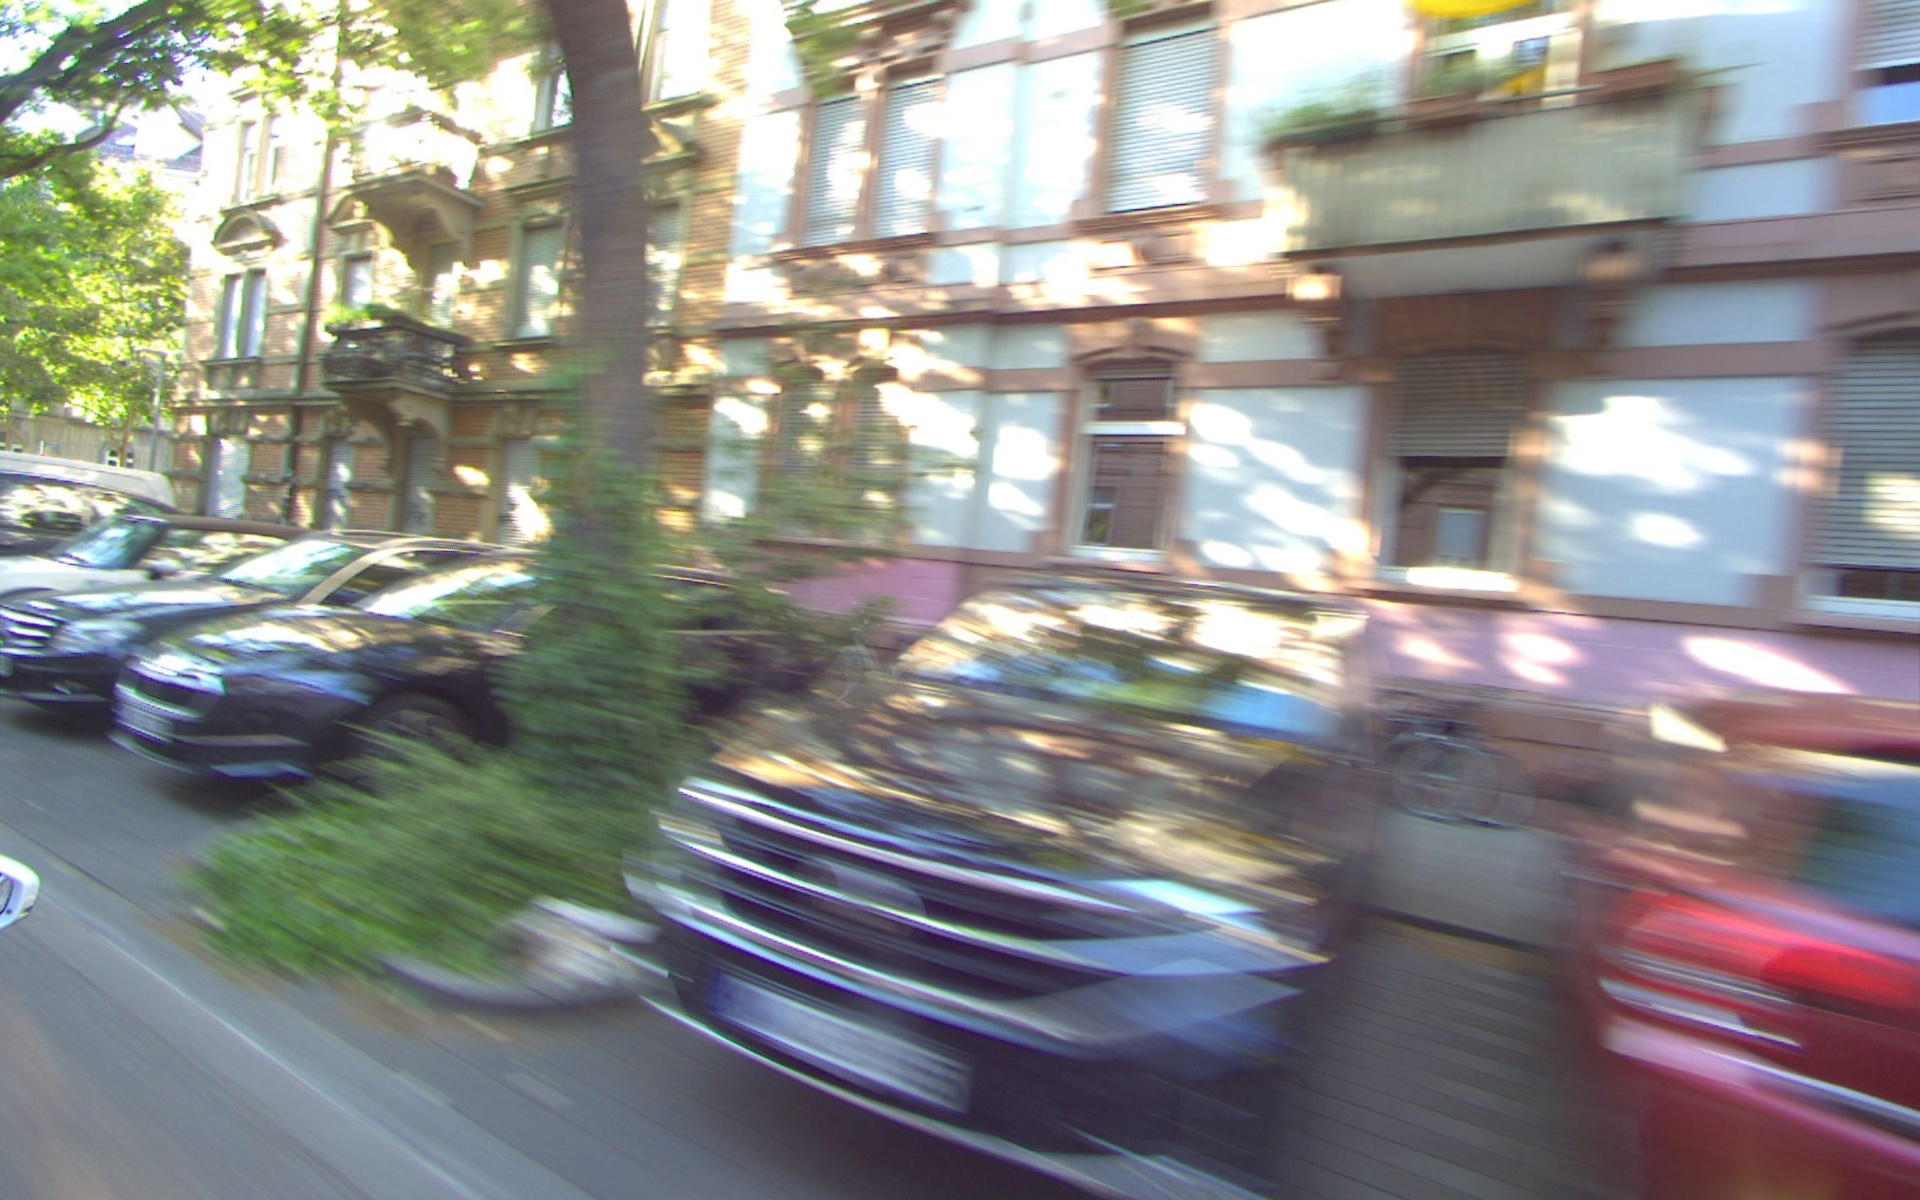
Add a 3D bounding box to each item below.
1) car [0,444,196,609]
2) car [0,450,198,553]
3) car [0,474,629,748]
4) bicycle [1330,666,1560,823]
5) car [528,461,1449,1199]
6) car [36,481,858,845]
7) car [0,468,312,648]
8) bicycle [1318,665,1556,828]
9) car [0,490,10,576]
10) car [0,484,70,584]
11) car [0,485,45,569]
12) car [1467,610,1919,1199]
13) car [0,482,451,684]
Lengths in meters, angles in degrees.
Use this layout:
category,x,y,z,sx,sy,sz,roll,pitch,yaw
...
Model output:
category,x,y,z,sx,sy,sz,roll,pitch,yaw
car,-13.533,-1.096,13.177,2.123,1.962,5.099,3,-3,31
car,-30.006,-3.336,34.253,2.337,2.567,5.911,7,-1,25
car,-5.129,0.122,8.247,1.897,1.521,4.674,7,-1,22
bicycle,4.209,1.221,8.814,1.677,1.063,0.324,7,1,35
car,0.847,0.697,4.212,1.849,1.724,4.651,7,1,28
car,-2.954,0.397,6.896,1.967,1.548,4.557,7,-1,33
car,-9.603,-0.463,10.912,1.694,1.669,3.894,7,-1,26
bicycle,3.991,1.190,8.498,1.677,1.063,0.365,7,0,35
car,-18.344,-1.394,15.939,1.902,1.473,4.375,7,0,32
car,-16.032,-1.180,14.786,1.749,1.493,3.996,7,1,24
car,-19.715,-1.604,18.338,1.813,1.516,4.086,7,0,32
car,2.776,1.046,3.340,1.751,1.609,3.995,7,0,28
car,-7.287,-0.107,9.445,1.779,1.521,4.115,7,-1,27
